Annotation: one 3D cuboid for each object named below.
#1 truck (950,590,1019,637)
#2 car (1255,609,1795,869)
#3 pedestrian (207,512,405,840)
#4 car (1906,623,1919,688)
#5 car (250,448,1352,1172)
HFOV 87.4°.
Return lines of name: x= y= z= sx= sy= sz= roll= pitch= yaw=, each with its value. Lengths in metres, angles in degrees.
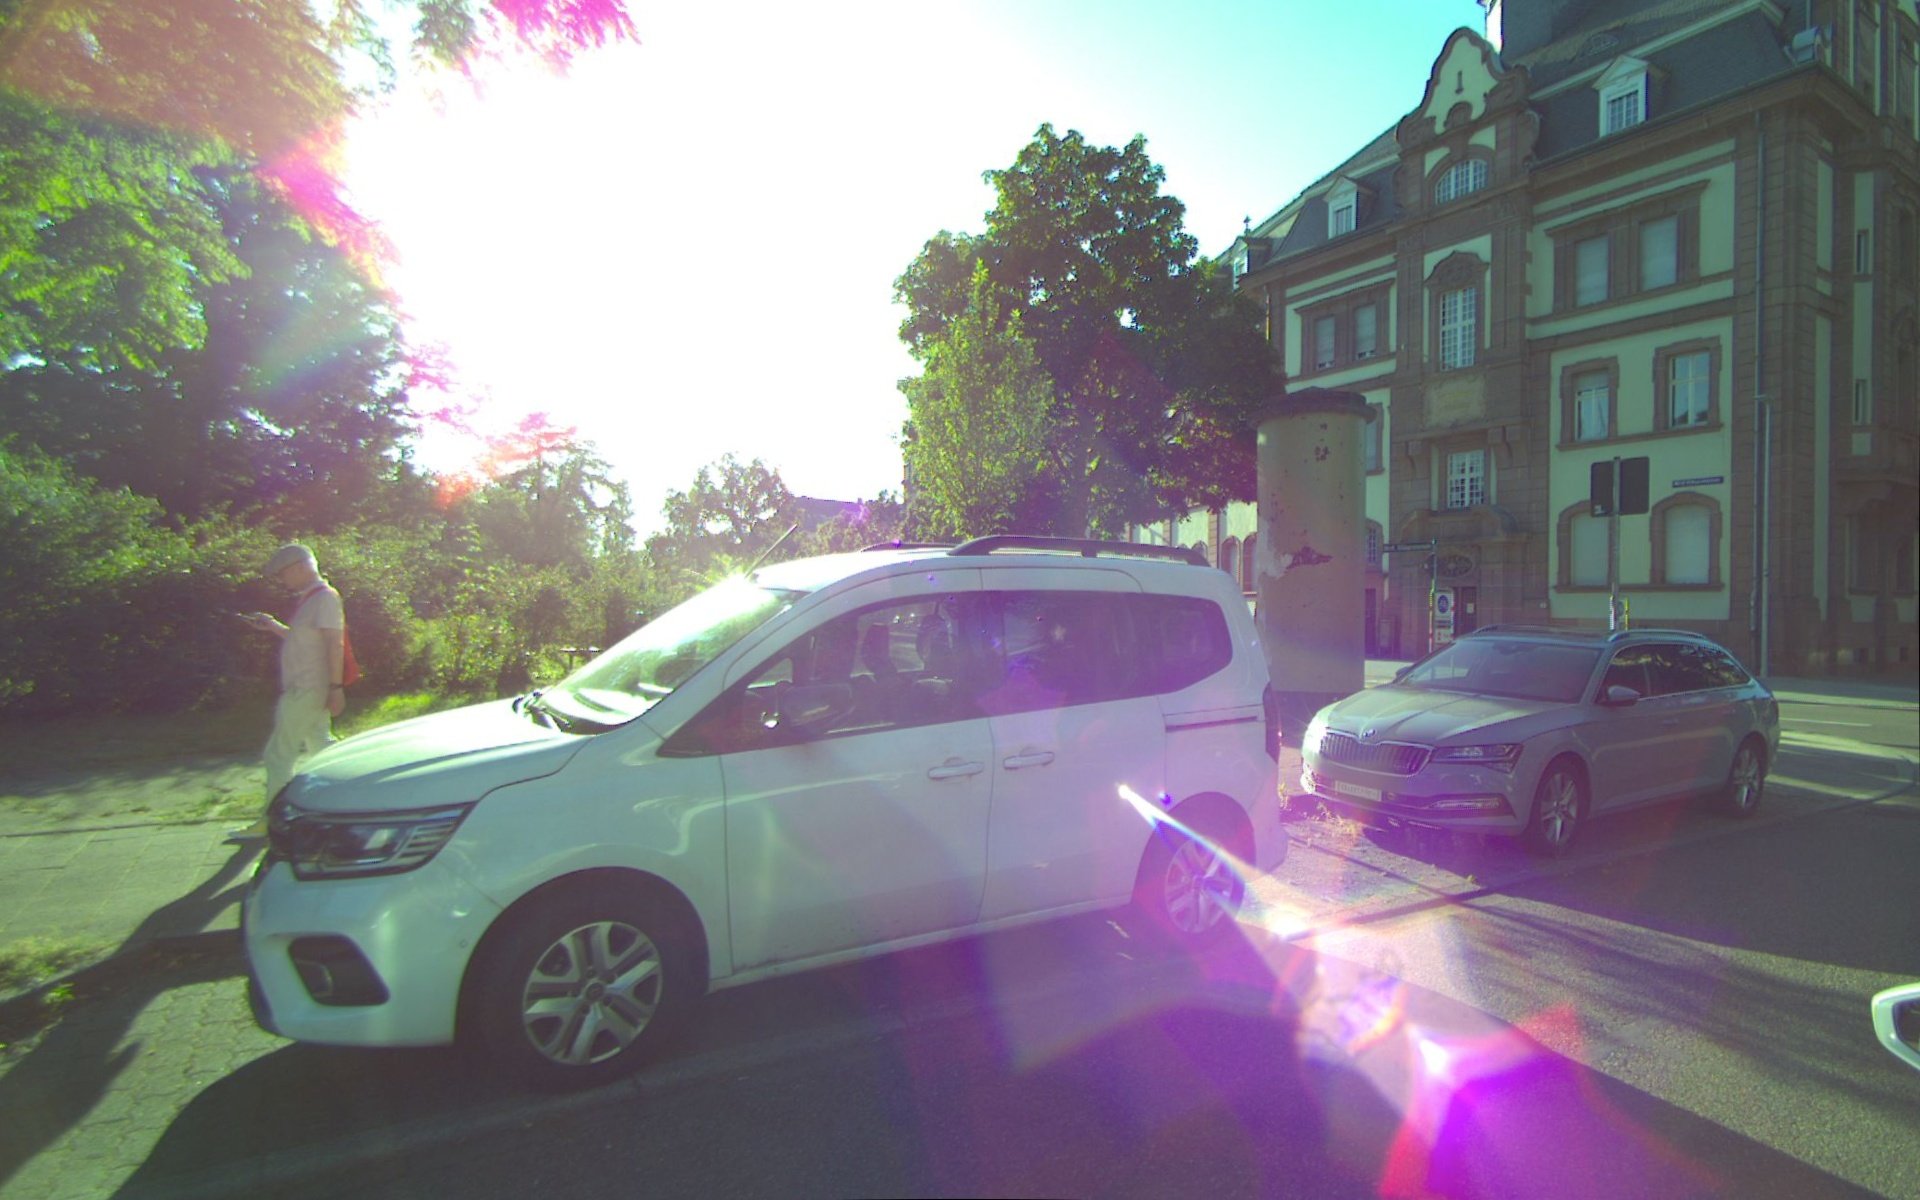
truck: x=1.606 y=0.927 z=70.296 sx=2.570 sy=3.069 sz=7.982 roll=1 pitch=-1 yaw=-16
car: x=4.568 y=0.880 z=7.913 sx=4.502 sy=1.525 sz=1.771 roll=1 pitch=-1 yaw=-32
pedestrian: x=-3.934 y=0.430 z=6.071 sx=0.937 sy=1.808 sz=0.595 roll=1 pitch=-1 yaw=-35
car: x=25.625 y=1.379 z=23.497 sx=1.823 sy=1.615 sz=4.813 roll=1 pitch=-1 yaw=-33
car: x=-0.394 y=0.586 z=4.569 sx=4.503 sy=1.865 sz=1.771 roll=1 pitch=-1 yaw=-33
